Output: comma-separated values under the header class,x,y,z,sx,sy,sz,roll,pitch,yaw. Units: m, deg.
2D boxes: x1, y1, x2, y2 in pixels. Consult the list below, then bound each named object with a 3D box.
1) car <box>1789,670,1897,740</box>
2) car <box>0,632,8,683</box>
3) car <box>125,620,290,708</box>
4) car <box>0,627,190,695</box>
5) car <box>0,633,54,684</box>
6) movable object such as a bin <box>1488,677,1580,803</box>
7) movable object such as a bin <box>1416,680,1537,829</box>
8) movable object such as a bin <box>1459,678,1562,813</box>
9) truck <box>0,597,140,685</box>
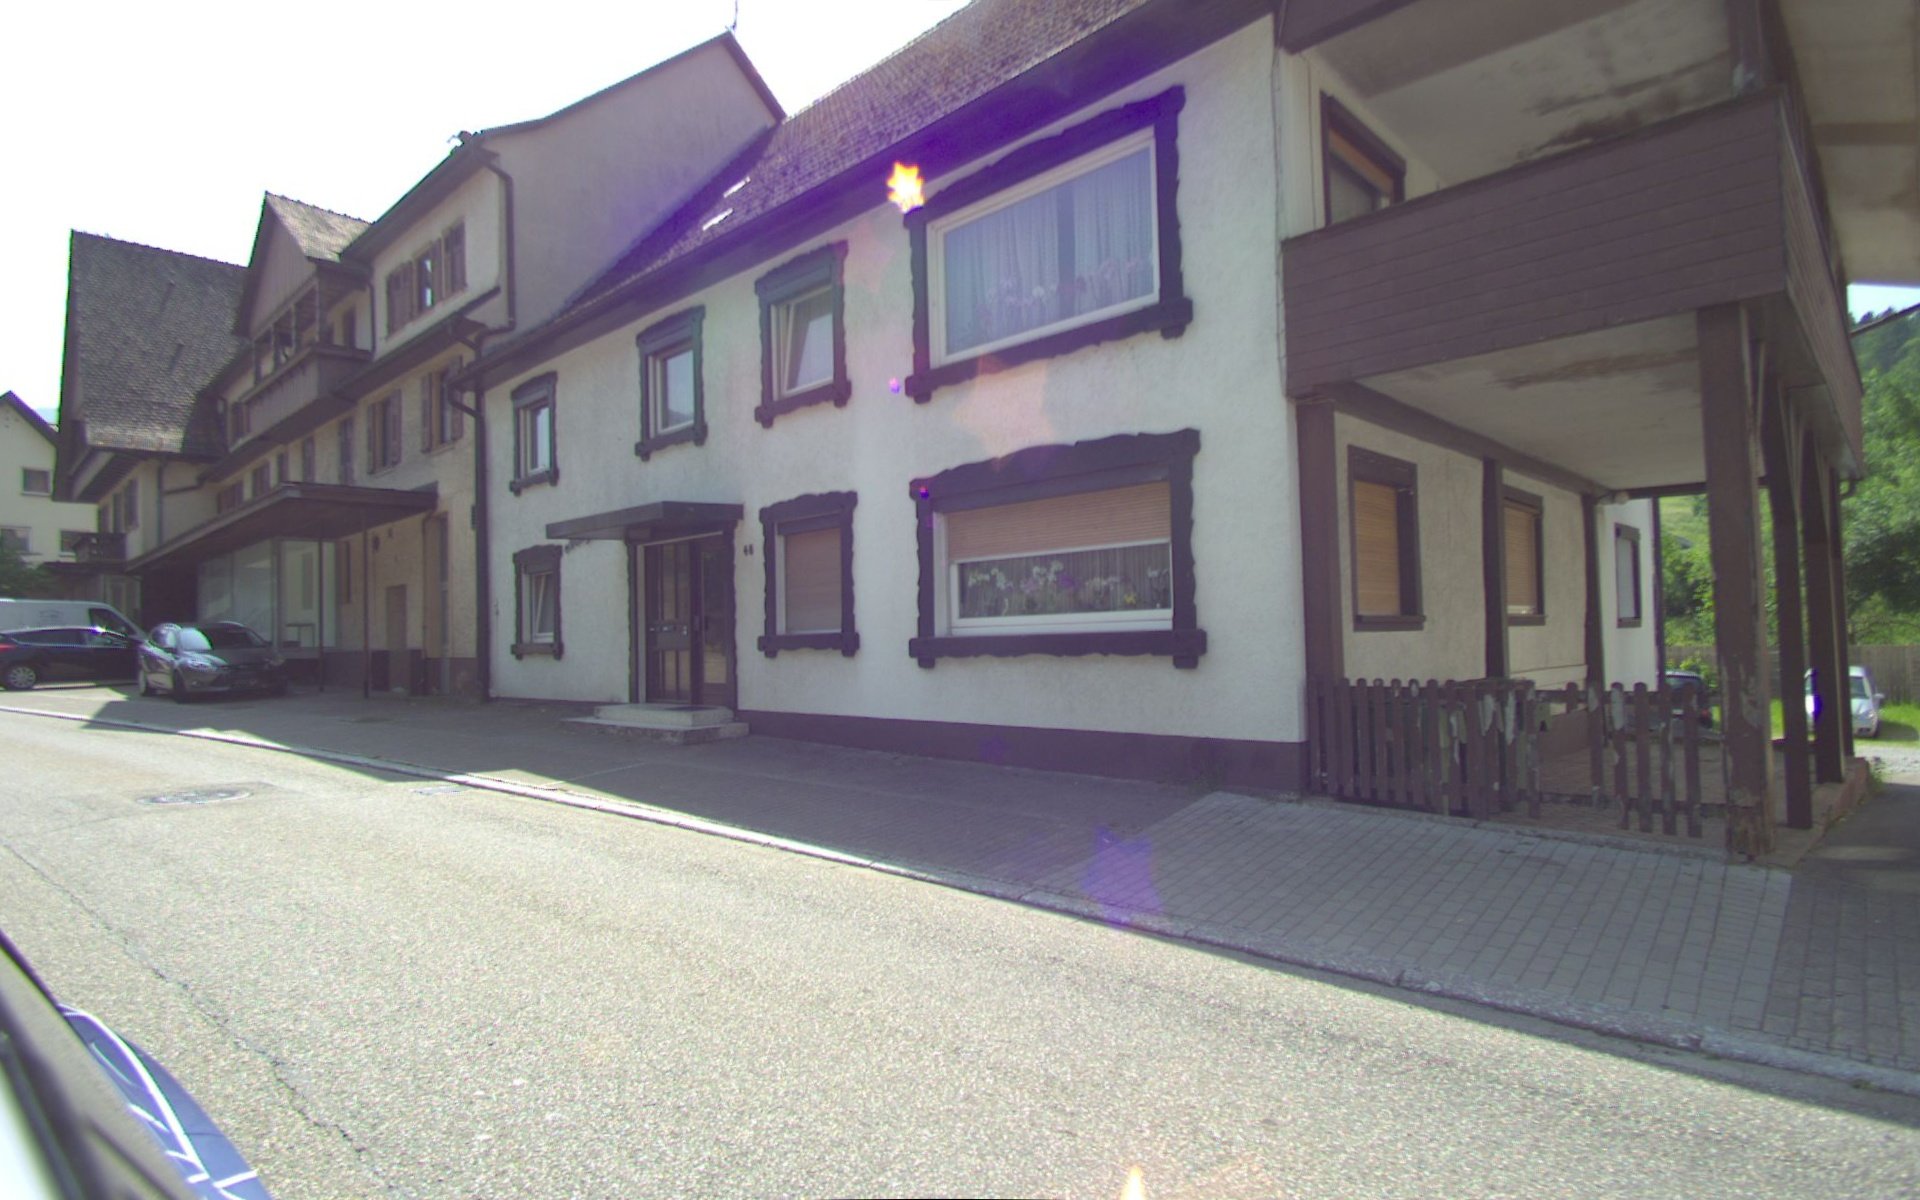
class,x,y,z,sx,sy,sz,roll,pitch,yaw
car,23.395,2.754,26.780,3.618,1.667,1.743,5,-5,-43
car,-31.807,1.729,30.846,1.577,1.584,3.942,-2,-4,44
car,-15.311,1.237,20.507,4.282,1.565,1.752,-2,-1,40
car,-21.307,1.424,24.438,1.753,1.514,4.052,-2,-2,41
car,-29.065,1.686,29.298,1.625,1.464,3.948,-2,-4,38
movable object such as a bin,5.192,1.241,9.160,0.600,1.059,0.592,-2,-4,42
movable object such as a bin,4.031,1.171,7.902,0.696,1.059,0.614,-2,-4,42
movable object such as a bin,4.681,1.207,8.607,0.632,1.059,0.600,-2,-4,42
truck,-25.269,1.087,27.656,1.997,2.283,4.127,-2,-1,37
